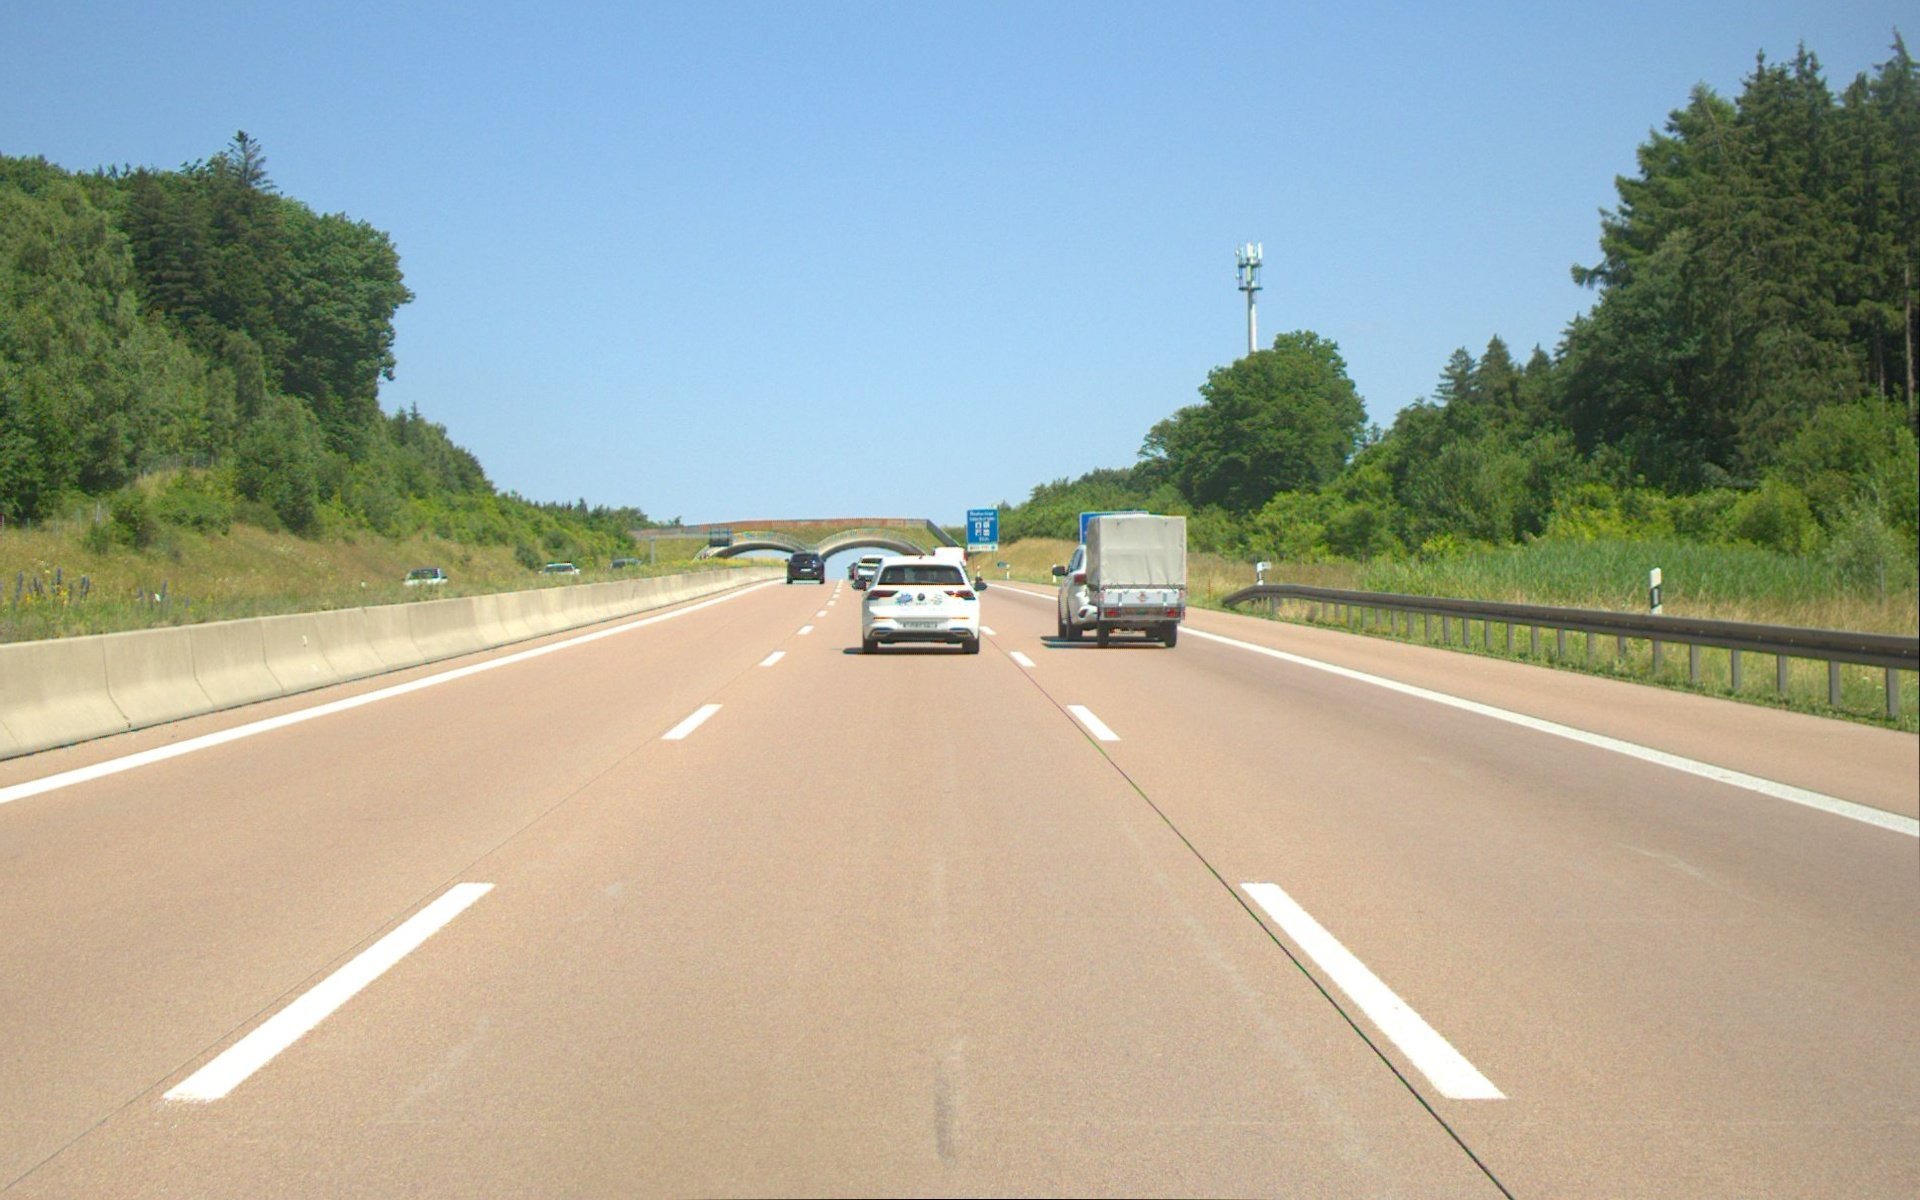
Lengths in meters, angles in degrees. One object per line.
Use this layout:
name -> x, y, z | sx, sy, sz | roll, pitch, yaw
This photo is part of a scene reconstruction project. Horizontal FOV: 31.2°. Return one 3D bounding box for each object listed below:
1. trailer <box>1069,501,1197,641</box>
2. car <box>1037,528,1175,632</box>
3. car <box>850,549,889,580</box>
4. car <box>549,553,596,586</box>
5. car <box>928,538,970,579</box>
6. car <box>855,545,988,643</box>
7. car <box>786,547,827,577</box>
trailer -> 2.729, -0.460, 54.909 | 1.657, 2.156, 4.016 | 0, 0, -3
car -> 2.475, -0.355, 59.436 | 1.890, 1.722, 5.187 | 0, 1, -3
car -> -4.412, -1.746, 168.234 | 1.890, 1.458, 4.000 | 1, 1, -1
car -> -19.020, -1.508, 168.801 | 1.890, 1.588, 4.464 | 0, 1, -1
car -> -0.542, -2.136, 175.256 | 2.110, 2.047, 4.000 | 0, 1, 0
car -> -0.623, -0.110, 51.756 | 1.890, 1.393, 4.000 | 1, 1, -2
car -> -7.763, -1.922, 174.005 | 1.891, 1.458, 4.000 | 0, 1, 0
